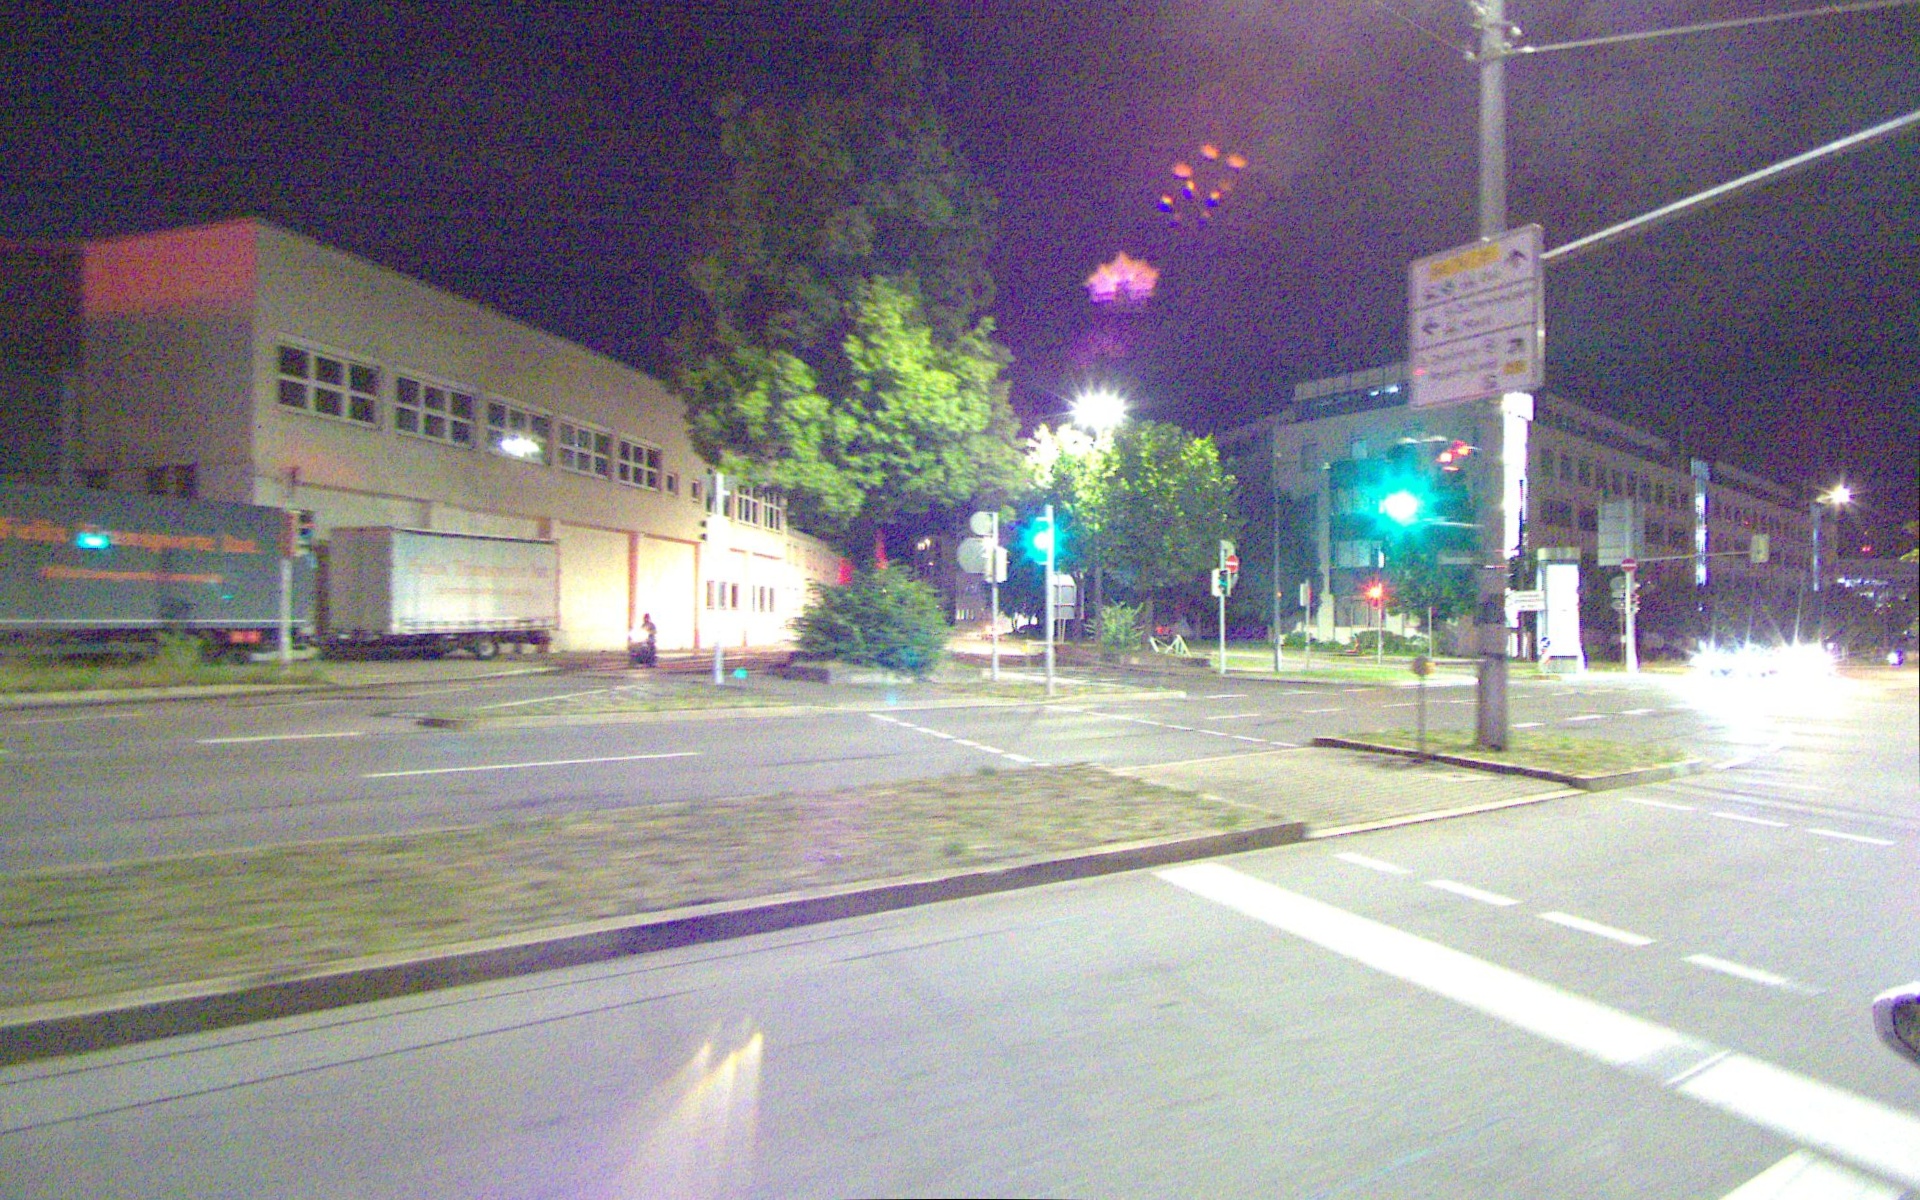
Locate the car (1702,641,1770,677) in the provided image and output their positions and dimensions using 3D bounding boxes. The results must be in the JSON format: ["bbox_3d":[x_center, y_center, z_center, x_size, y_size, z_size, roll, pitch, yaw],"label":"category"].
[{"bbox_3d":[35.354,2.684,45.752,3.967,1.535,1.603,3,-2,-39],"label":"car"}]

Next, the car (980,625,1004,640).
[{"bbox_3d":[3.415,3.478,107.981,1.679,1.511,3.991,2,-2,-13],"label":"car"}]

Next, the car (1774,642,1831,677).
[{"bbox_3d":[45.193,3.189,53.840,3.519,1.750,1.743,3,-2,-40],"label":"car"}]

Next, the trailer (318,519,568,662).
[{"bbox_3d":[-15.312,-0.145,30.366,2.571,3.840,6.513,1,-2,22],"label":"trailer"}]

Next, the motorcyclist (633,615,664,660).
[{"bbox_3d":[-9.098,1.084,29.313,0.635,1.278,0.579,2,-1,8],"label":"motorcyclist"}]

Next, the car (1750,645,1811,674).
[{"bbox_3d":[41.159,2.973,50.345,3.519,1.339,1.743,3,-2,-40],"label":"car"}]

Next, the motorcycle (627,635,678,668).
[{"bbox_3d":[-9.022,1.499,29.529,0.568,0.907,2.157,-1,-2,8],"label":"motorcycle"}]

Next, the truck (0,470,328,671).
[{"bbox_3d":[-19.105,-0.529,21.298,2.891,3.846,9.553,1,-2,24],"label":"truck"}]
